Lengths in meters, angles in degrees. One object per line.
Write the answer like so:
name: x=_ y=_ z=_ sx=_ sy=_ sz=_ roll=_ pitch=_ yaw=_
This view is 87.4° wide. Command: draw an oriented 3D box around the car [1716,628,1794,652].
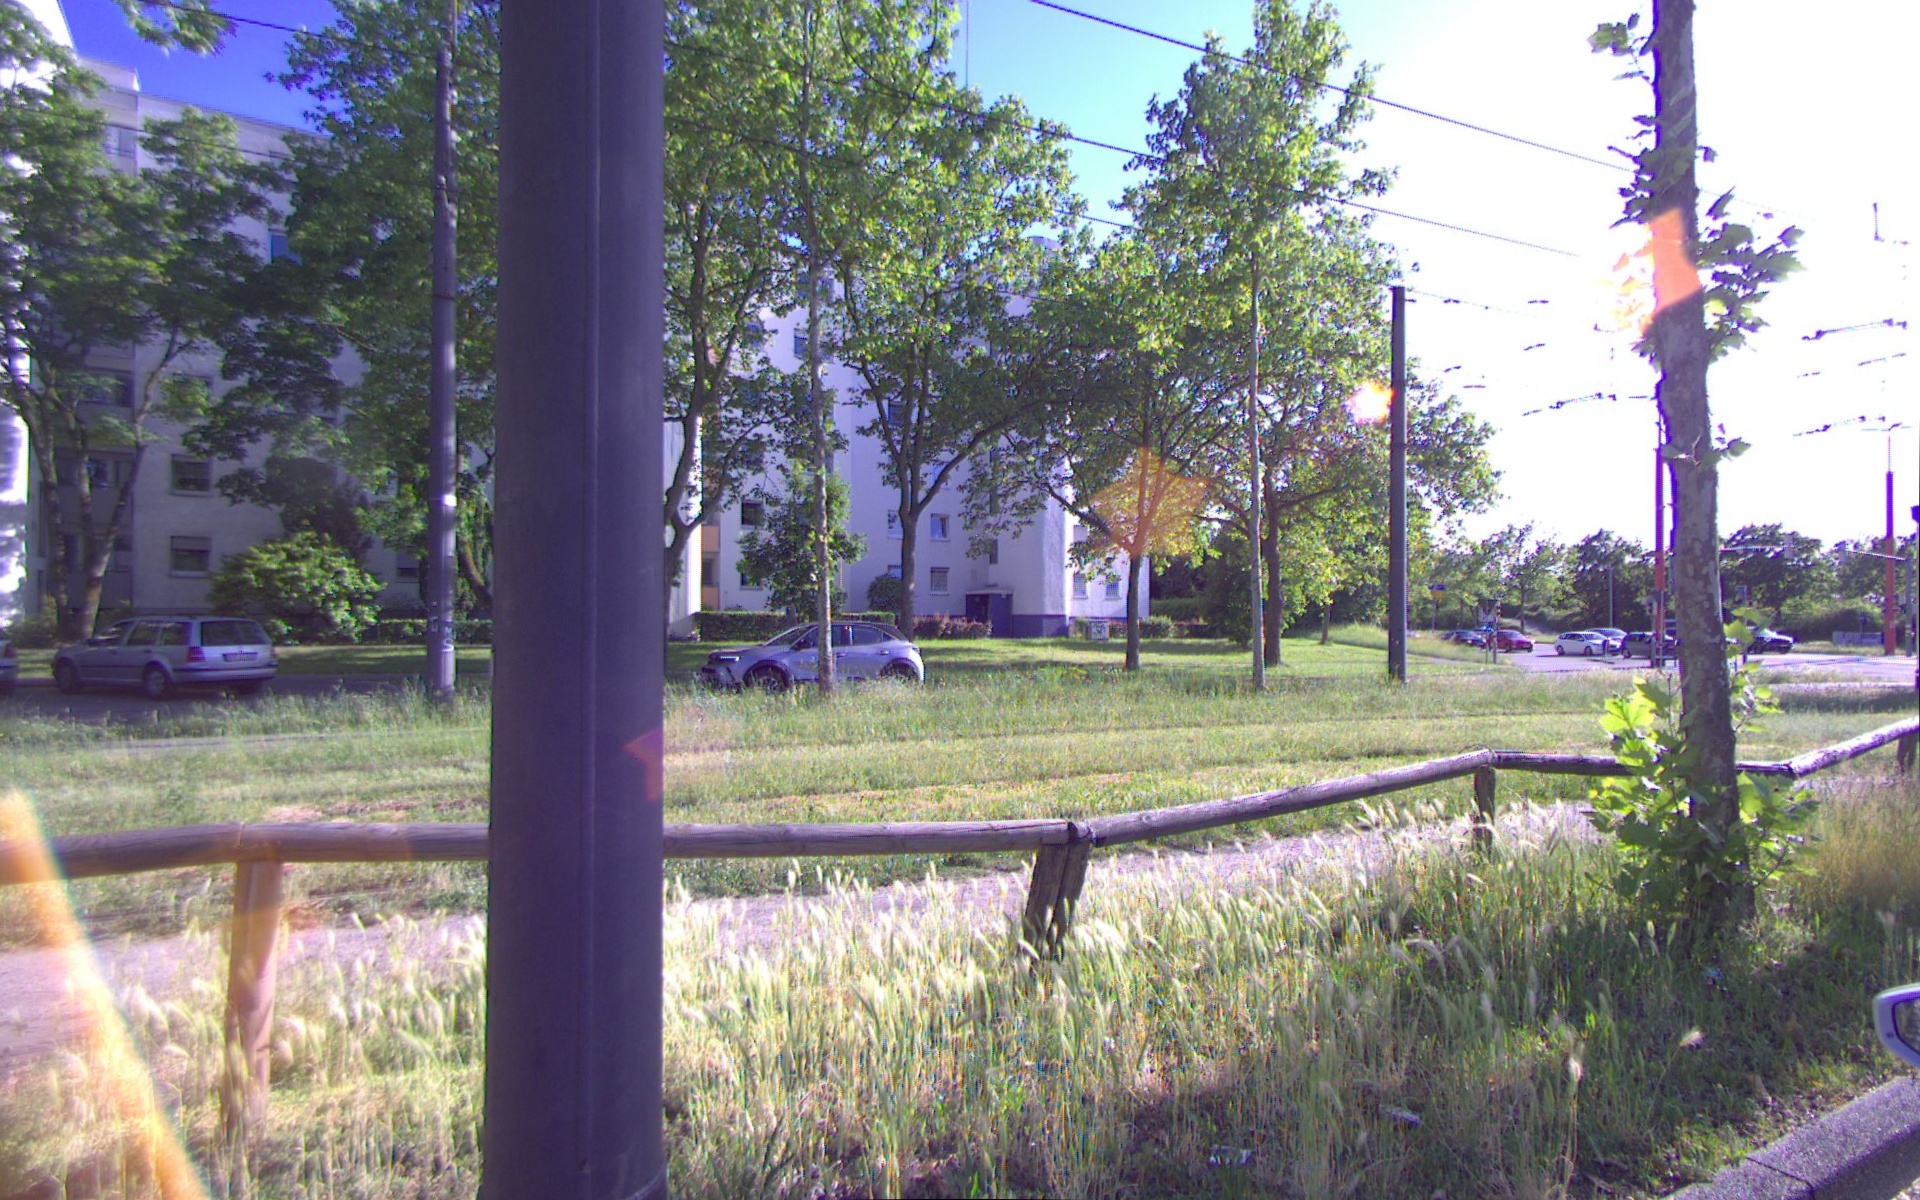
car: x=48.780 y=2.427 z=61.733 sx=1.664 sy=1.347 sz=4.001 roll=1 pitch=-1 yaw=2

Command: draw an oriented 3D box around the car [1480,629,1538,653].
car: x=38.457 y=2.872 z=70.415 sx=1.699 sy=1.533 sz=3.998 roll=1 pitch=-1 yaw=-4

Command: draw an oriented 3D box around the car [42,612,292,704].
car: x=-14.558 y=0.997 z=18.470 sx=3.898 sy=1.462 sz=1.710 roll=1 pitch=0 yaw=18

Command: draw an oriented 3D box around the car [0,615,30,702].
car: x=-17.957 y=0.966 z=17.117 sx=3.547 sy=1.439 sz=1.576 roll=1 pitch=0 yaw=18

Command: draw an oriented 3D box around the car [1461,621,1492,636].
car: x=61.877 y=3.389 z=120.471 sx=1.767 sy=1.678 sz=4.116 roll=1 pitch=-1 yaw=3

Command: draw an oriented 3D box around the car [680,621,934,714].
car: x=-2.797 y=1.185 z=18.538 sx=4.276 sy=1.543 sz=1.799 roll=1 pitch=-1 yaw=-28

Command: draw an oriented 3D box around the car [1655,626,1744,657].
car: x=42.424 y=2.341 z=57.748 sx=1.962 sy=1.666 sz=3.997 roll=1 pitch=-1 yaw=-5

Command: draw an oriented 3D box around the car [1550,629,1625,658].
car: x=38.963 y=2.684 z=62.480 sx=1.833 sy=1.633 sz=4.185 roll=1 pitch=-1 yaw=-4
